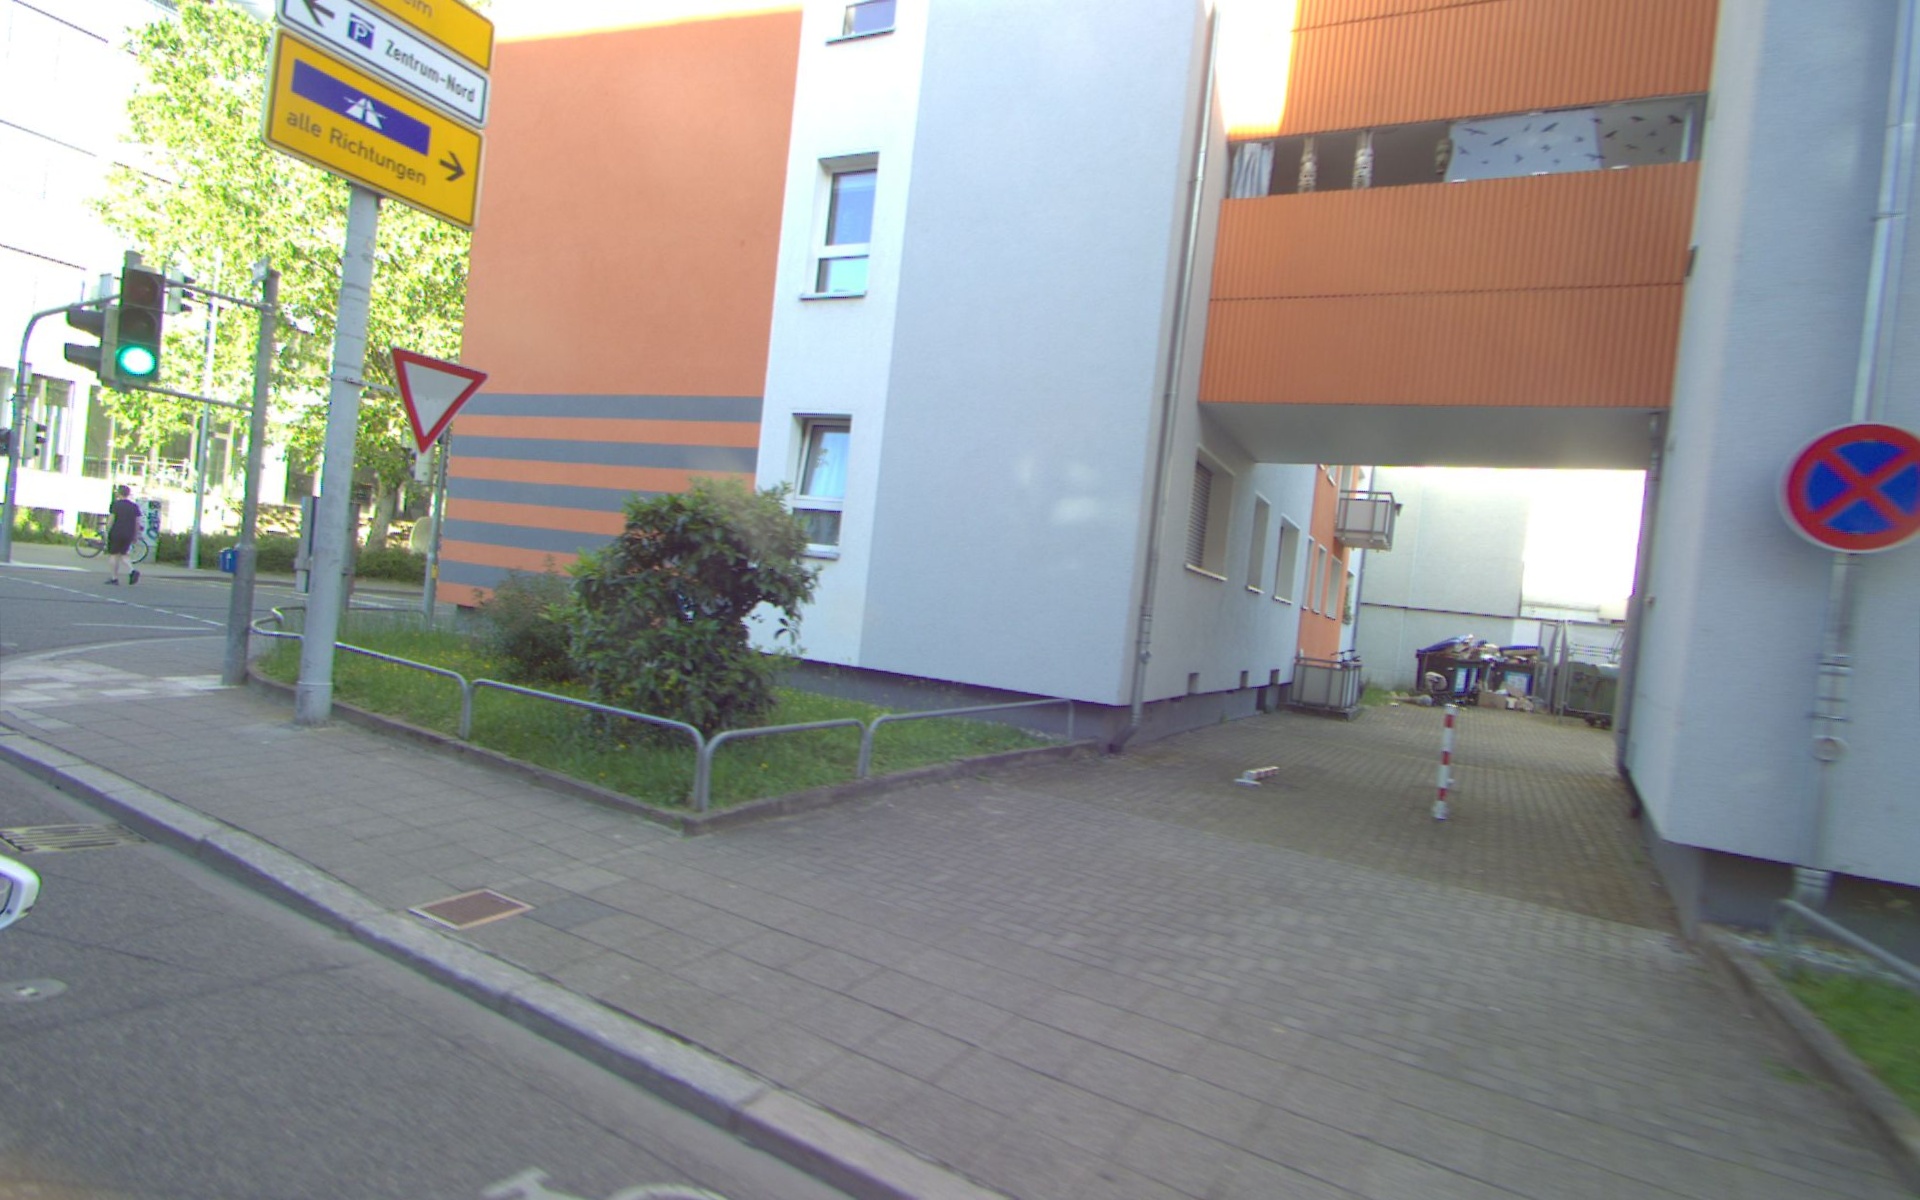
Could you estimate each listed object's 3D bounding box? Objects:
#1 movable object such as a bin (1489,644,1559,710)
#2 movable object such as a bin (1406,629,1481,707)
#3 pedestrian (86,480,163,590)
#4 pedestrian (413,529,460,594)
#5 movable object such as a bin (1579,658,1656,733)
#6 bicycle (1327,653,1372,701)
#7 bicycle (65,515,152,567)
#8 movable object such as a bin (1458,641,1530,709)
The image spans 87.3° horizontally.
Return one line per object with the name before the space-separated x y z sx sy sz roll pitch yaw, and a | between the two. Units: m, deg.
movable object such as a bin | 15.285 2.078 27.264 1.225 1.605 1.170 4 3 -42
movable object such as a bin | 12.230 1.709 25.448 1.225 1.807 1.170 4 3 -42
pedestrian | -15.289 -1.183 18.413 0.824 1.862 0.707 7 0 33
pedestrian | -16.166 -1.173 31.081 0.696 1.862 0.837 7 0 24
movable object such as a bin | 15.107 2.163 23.156 1.309 1.520 1.180 6 2 32
bicycle | 9.374 1.838 24.154 0.669 1.023 2.457 7 0 27
bicycle | -21.603 -1.484 25.545 1.657 1.063 0.508 9 2 -2
movable object such as a bin | 14.065 1.972 26.505 1.225 1.605 1.170 4 3 -42
